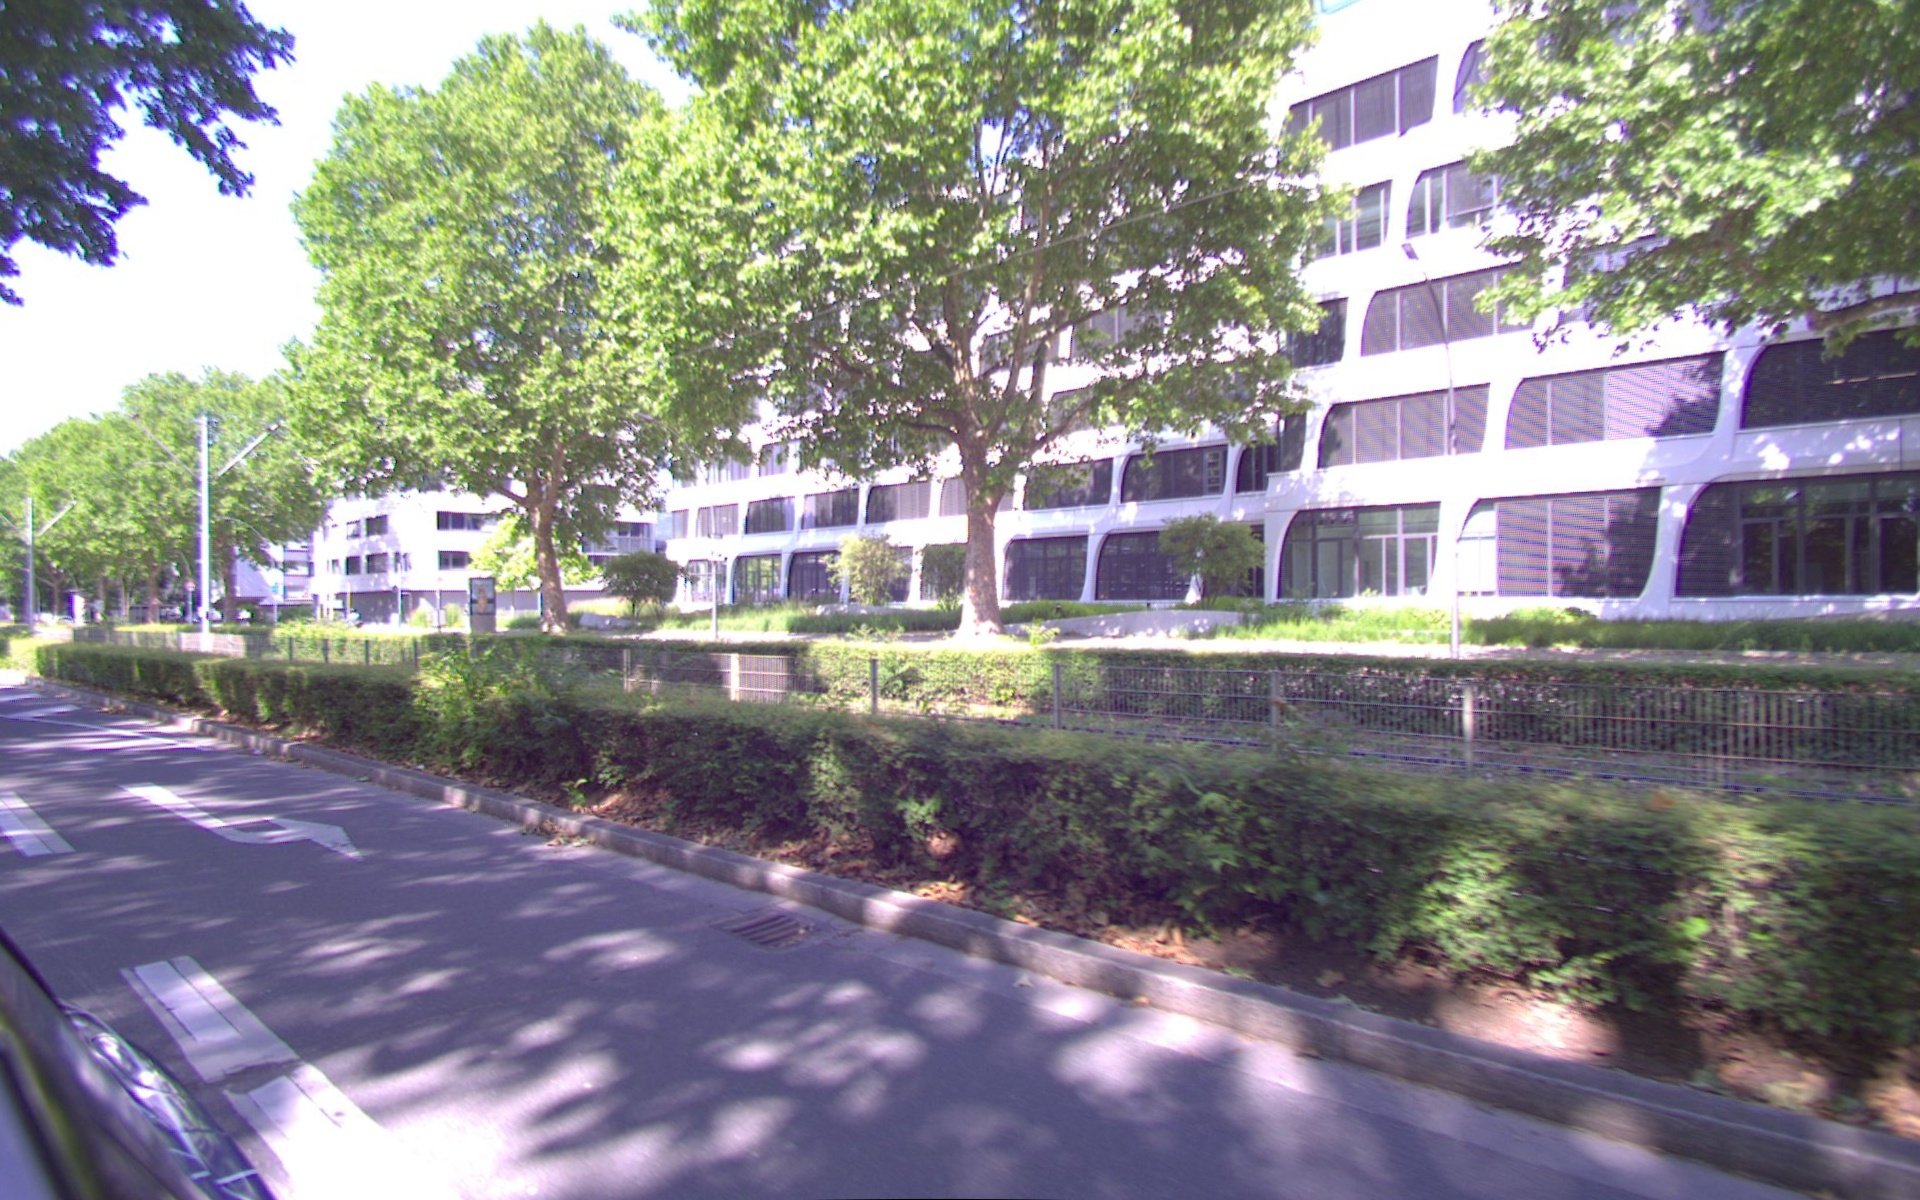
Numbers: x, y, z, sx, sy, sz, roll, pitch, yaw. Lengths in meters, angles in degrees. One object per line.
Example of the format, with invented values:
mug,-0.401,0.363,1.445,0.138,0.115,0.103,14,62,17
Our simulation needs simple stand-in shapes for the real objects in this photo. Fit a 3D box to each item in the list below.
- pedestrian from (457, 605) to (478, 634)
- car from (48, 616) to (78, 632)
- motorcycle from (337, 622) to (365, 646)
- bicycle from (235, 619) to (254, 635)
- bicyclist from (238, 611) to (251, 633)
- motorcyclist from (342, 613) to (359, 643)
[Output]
pedestrian,-27.505,1.106,56.562,1.014,1.600,0.712,-1,0,42
car,-88.678,2.373,100.069,4.017,1.581,1.738,-1,0,42
motorcycle,-30.062,1.664,49.963,1.999,1.183,0.626,-1,0,42
bicycle,-51.729,1.969,73.153,2.030,1.132,0.657,-1,0,42
bicyclist,-51.729,1.576,73.135,0.641,1.546,0.647,-2,0,42
motorcyclist,-30.114,1.363,49.991,0.533,1.468,0.575,-1,0,41
